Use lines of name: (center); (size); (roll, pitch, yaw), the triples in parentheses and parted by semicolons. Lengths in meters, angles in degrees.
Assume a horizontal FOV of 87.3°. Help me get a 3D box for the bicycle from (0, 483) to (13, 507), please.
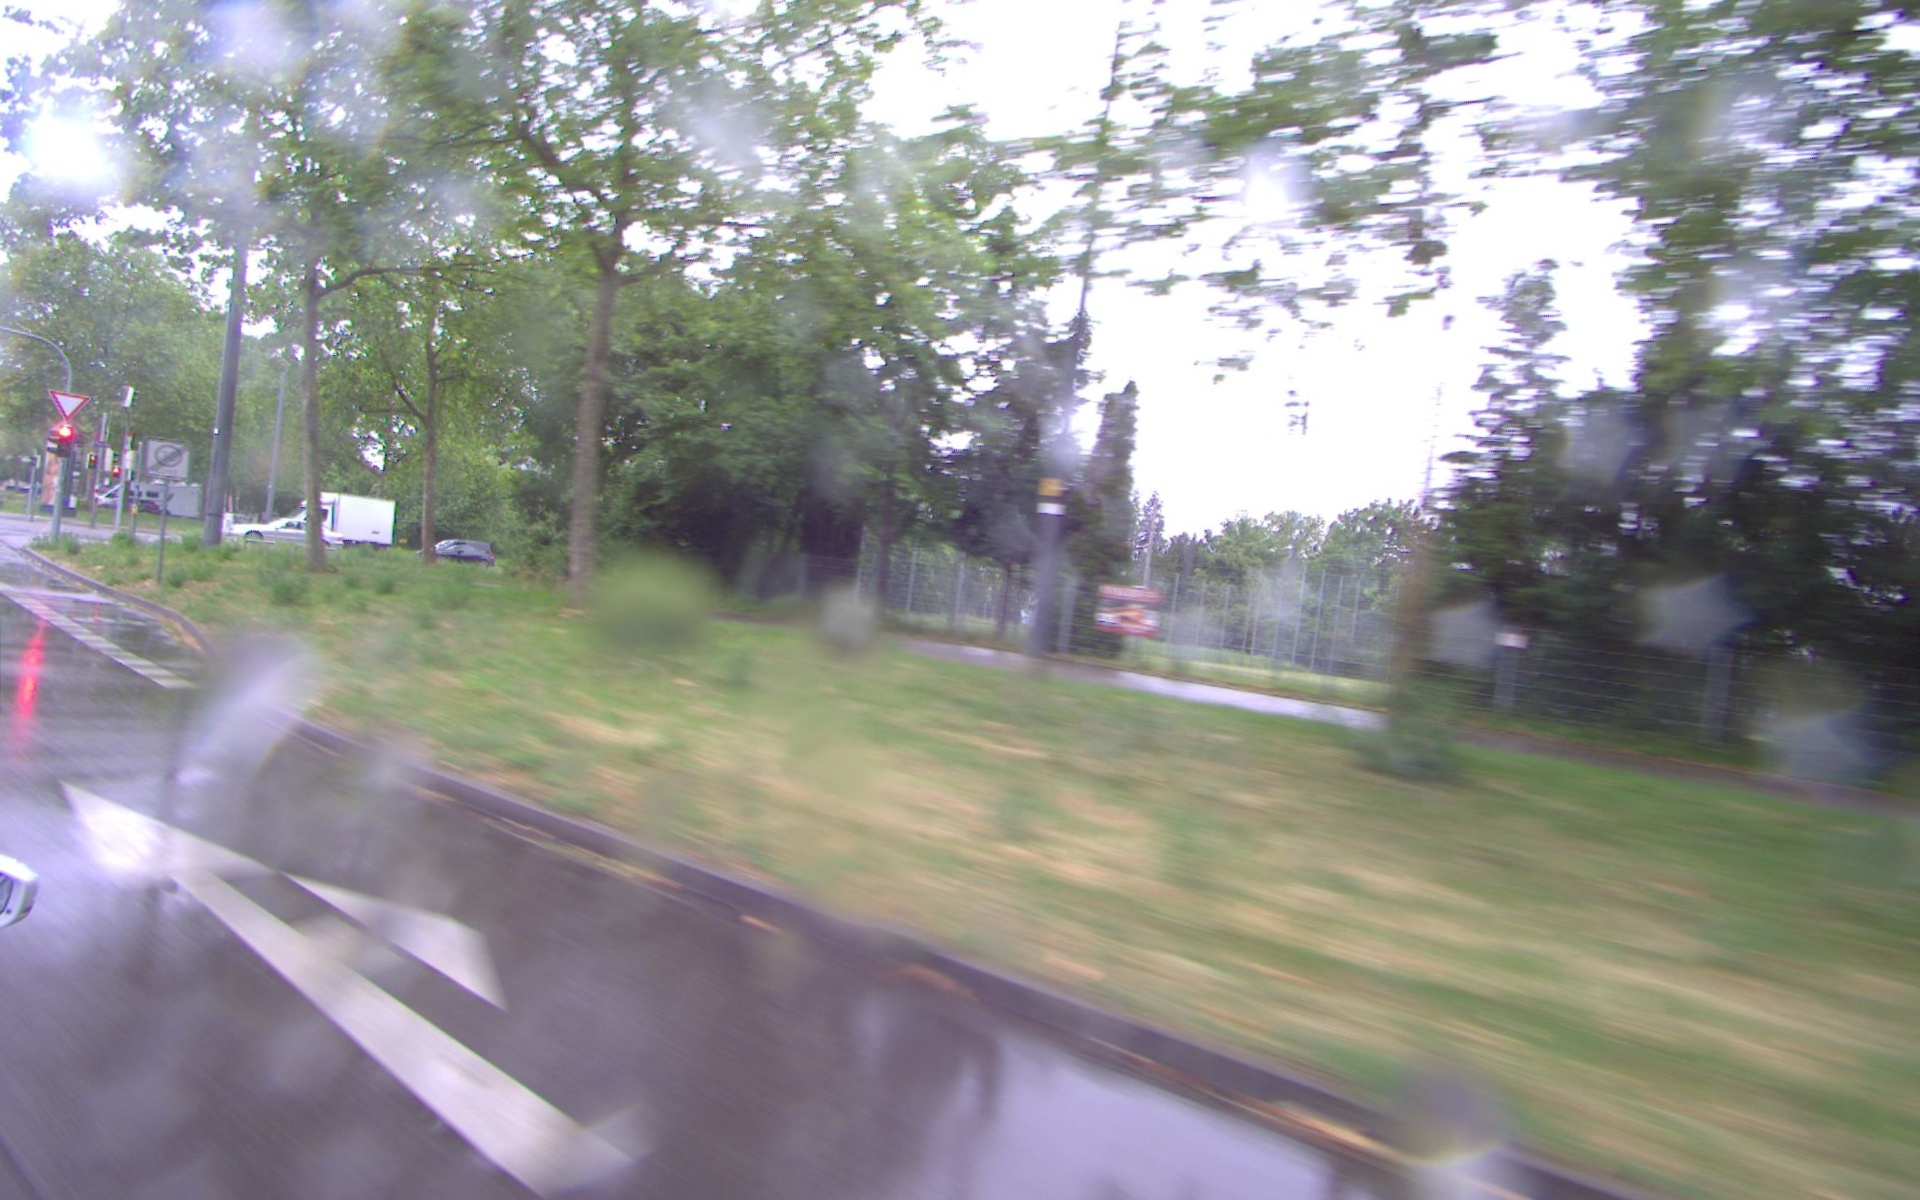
bicycle: (-47.197, -5.178, 48.877); (0.492, 1.115, 1.563); (7, 0, 32)

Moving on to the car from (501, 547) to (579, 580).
car: (-26.356, -2.281, 63.227); (1.739, 1.439, 4.121); (7, -1, 37)

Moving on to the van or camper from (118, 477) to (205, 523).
van or camper: (-66.035, -8.258, 83.321); (5.190, 2.729, 2.223); (10, -1, -33)

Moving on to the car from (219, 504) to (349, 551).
car: (-30.420, -3.223, 45.374); (1.619, 1.406, 4.514); (7, -1, 35)

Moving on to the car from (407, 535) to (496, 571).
car: (-29.616, -2.717, 58.702); (1.739, 1.439, 4.200); (7, -1, 38)

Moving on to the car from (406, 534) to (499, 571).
car: (-27.467, -2.576, 54.570); (1.619, 1.406, 4.112); (7, -1, 35)

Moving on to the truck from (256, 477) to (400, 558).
truck: (-31.101, -4.016, 49.707); (1.950, 3.095, 5.471); (7, 0, 35)
